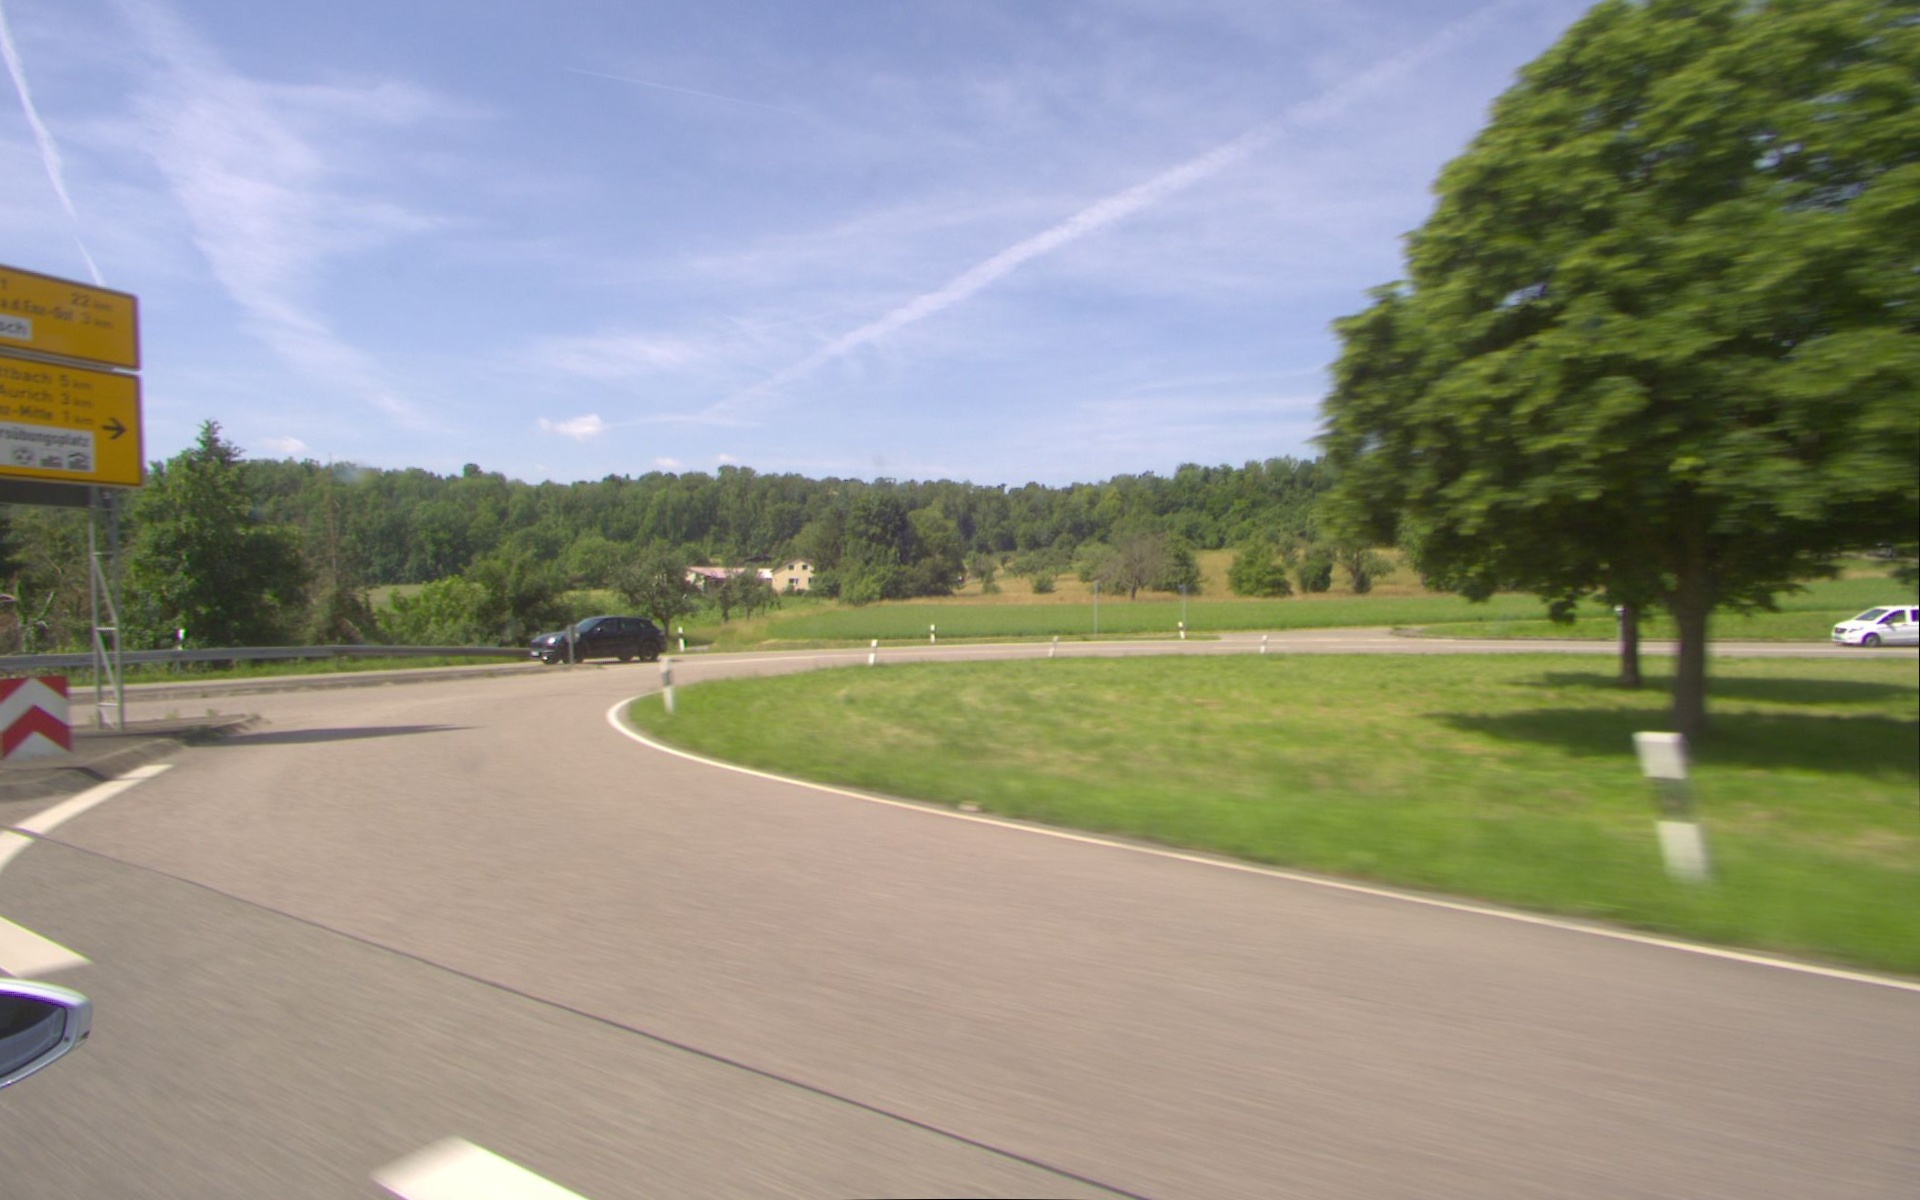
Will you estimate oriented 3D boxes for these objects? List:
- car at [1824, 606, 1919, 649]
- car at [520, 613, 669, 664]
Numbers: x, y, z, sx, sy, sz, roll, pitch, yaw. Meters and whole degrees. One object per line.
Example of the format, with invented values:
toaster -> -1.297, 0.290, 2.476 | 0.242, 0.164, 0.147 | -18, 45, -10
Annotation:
car -> 44.276, 1.287, 46.954 | 5.320, 1.872, 1.997 | 0, 2, 14
car -> -12.551, 1.283, 34.594 | 2.043, 1.610, 4.389 | -1, -1, 44
